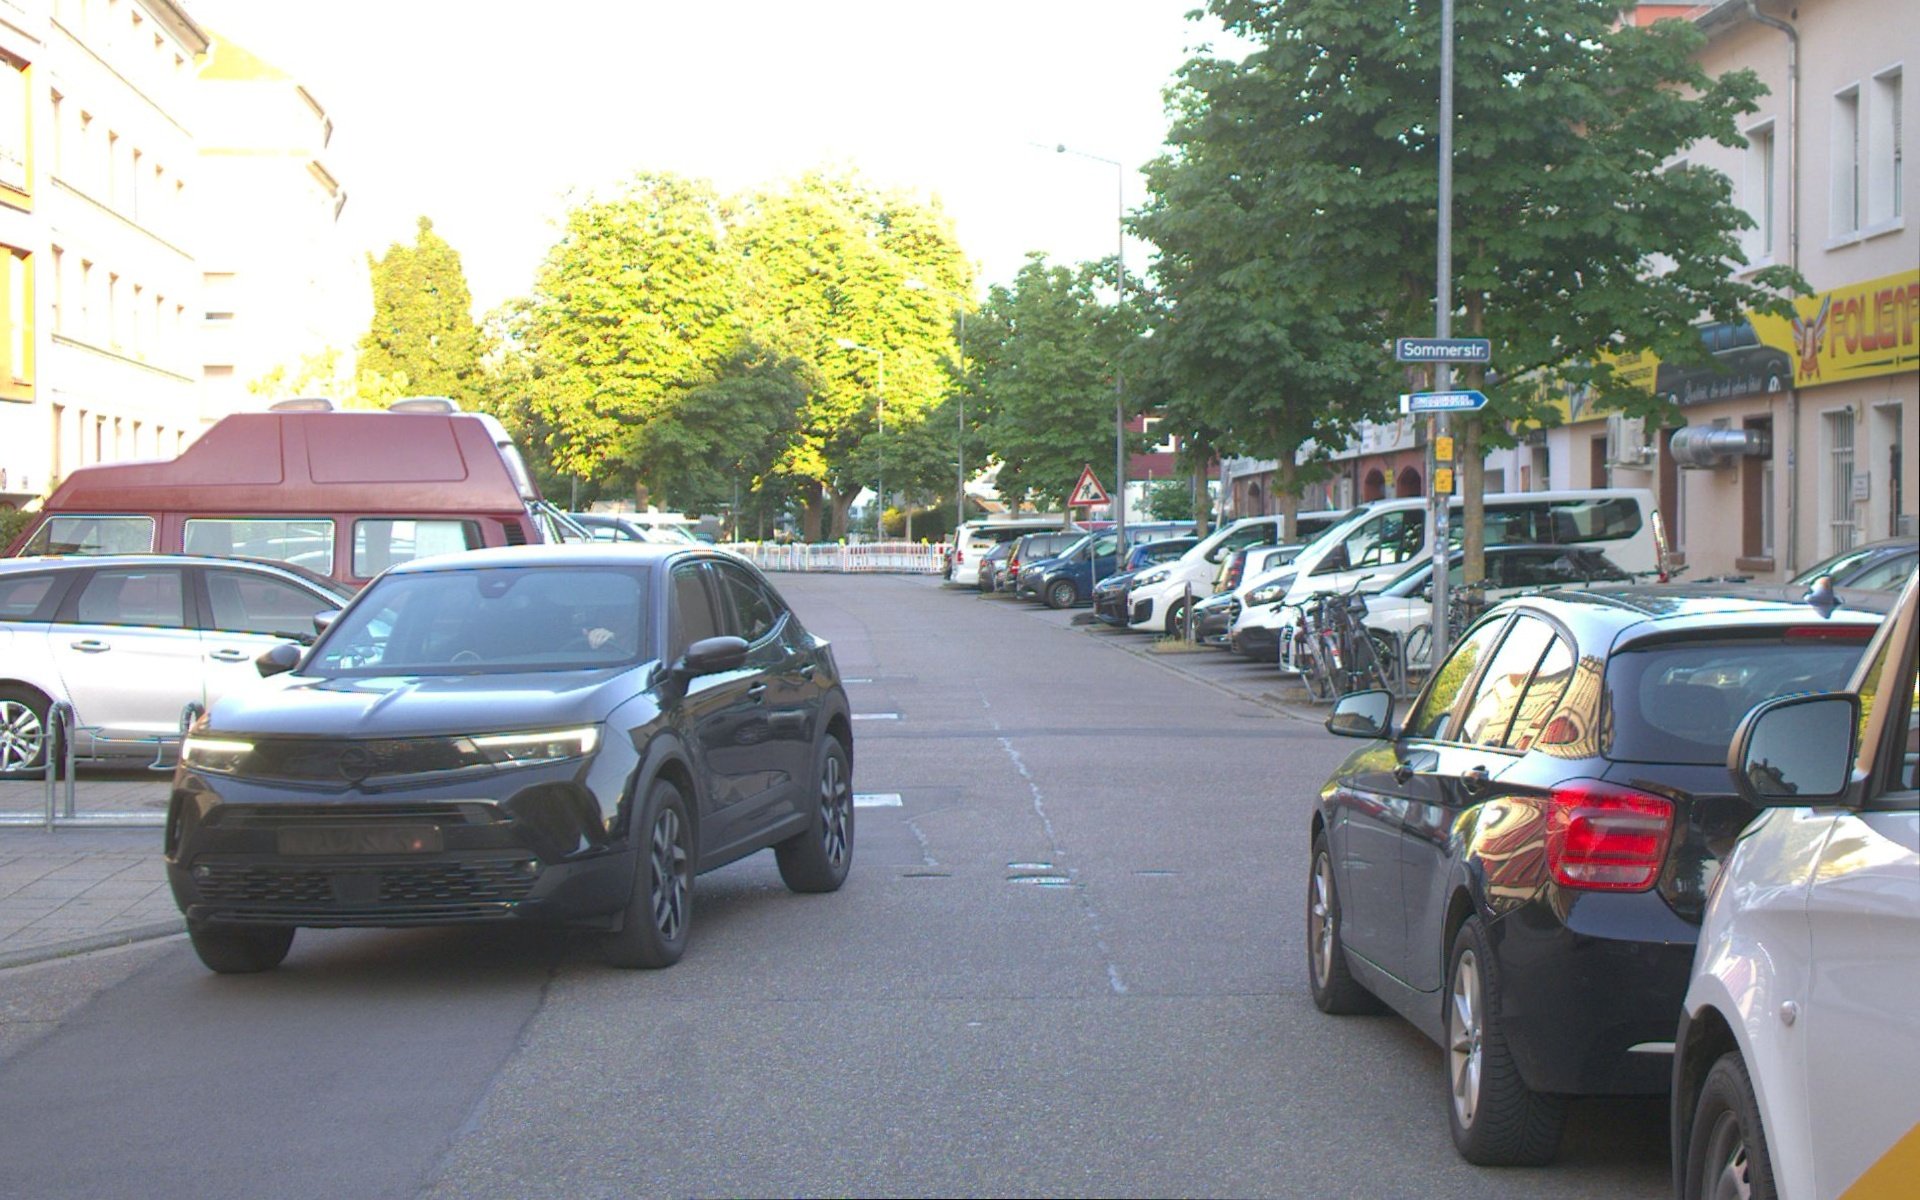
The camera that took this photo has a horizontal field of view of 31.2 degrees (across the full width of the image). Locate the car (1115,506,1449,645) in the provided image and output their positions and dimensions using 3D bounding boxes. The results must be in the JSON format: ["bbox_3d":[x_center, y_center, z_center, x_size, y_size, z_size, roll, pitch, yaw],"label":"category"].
[{"bbox_3d":[5.022,-0.399,54.089,4.943,1.951,2.049,-2,1,-2],"label":"car"}]

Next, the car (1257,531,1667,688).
[{"bbox_3d":[5.214,0.075,36.024,3.918,1.446,1.768,-2,1,-3],"label":"car"}]

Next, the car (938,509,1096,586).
[{"bbox_3d":[1.506,-1.406,91.952,3.967,1.905,2.050,-2,1,-5],"label":"car"}]

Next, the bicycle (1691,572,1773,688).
[{"bbox_3d":[7.137,0.266,31.840,0.387,1.013,1.481,-1,1,-1],"label":"bicycle"}]

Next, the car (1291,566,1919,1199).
[{"bbox_3d":[2.047,0.654,9.583,1.721,1.419,4.254,1,1,-1],"label":"car"}]

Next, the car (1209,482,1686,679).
[{"bbox_3d":[5.428,-0.234,38.807,4.990,1.976,2.220,-2,1,0],"label":"car"}]

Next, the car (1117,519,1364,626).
[{"bbox_3d":[5.185,-0.517,63.821,4.316,1.798,1.811,-2,1,-2],"label":"car"}]

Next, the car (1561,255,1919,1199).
[{"bbox_3d":[2.181,0.510,4.104,1.893,1.877,5.082,0,1,-2],"label":"car"}]

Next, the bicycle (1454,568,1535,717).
[{"bbox_3d":[4.944,0.373,31.897,0.386,1.300,2.017,-1,1,-1],"label":"bicycle"}]

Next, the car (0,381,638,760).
[{"bbox_3d":[-4.737,-0.228,25.178,4.511,2.575,2.000,1,1,1],"label":"car"}]

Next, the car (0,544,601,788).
[{"bbox_3d":[-4.721,0.399,22.611,4.615,1.455,1.881,1,1,-4],"label":"car"}]

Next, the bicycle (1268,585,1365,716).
[{"bbox_3d":[3.272,0.444,31.671,0.438,1.126,2.018,-1,1,-6],"label":"bicycle"}]

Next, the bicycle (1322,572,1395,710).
[{"bbox_3d":[3.685,0.361,31.859,0.386,1.196,2.017,-1,1,-1],"label":"bicycle"}]

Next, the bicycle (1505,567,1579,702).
[{"bbox_3d":[5.366,0.305,31.743,0.386,1.196,1.481,-1,1,-1],"label":"bicycle"}]

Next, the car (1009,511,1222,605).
[{"bbox_3d":[3.434,-0.944,76.486,4.478,1.905,1.688,-2,1,-5],"label":"car"}]

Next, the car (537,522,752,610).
[{"bbox_3d":[-6.509,-0.724,71.243,4.256,1.709,2.000,1,1,-1],"label":"car"}]

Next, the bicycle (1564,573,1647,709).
[{"bbox_3d":[5.946,0.360,31.716,0.445,1.196,1.481,-1,1,-1],"label":"bicycle"}]

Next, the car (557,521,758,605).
[{"bbox_3d":[-6.663,-0.817,76.014,4.256,1.743,2.000,1,1,-1],"label":"car"}]

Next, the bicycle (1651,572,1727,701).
[{"bbox_3d":[6.735,0.326,31.793,0.353,1.139,1.481,-1,1,-1],"label":"bicycle"}]

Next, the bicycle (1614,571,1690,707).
[{"bbox_3d":[6.376,0.342,31.709,0.353,1.196,1.481,-1,1,-1],"label":"bicycle"}]

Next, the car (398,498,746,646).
[{"bbox_3d":[-5.607,-0.424,50.155,4.850,2.014,1.907,1,1,-1],"label":"car"}]

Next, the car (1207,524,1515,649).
[{"bbox_3d":[5.409,-0.202,46.788,3.911,1.521,1.939,-2,1,0],"label":"car"}]

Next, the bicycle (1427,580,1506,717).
[{"bbox_3d":[4.683,0.430,31.887,0.386,1.196,2.017,-1,1,-1],"label":"bicycle"}]

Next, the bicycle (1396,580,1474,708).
[{"bbox_3d":[4.396,0.392,31.898,0.386,1.110,2.017,-1,1,-1],"label":"bicycle"}]

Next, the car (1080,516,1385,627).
[{"bbox_3d":[4.627,-0.494,58.908,4.943,1.683,2.077,-2,1,-2],"label":"car"}]

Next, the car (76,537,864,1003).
[{"bbox_3d":[-1.710,0.541,13.428,1.780,1.512,3.998,-1,1,11],"label":"car"}]

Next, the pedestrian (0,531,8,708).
[{"bbox_3d":[-8.510,0.161,28.800,0.832,1.496,0.798,1,1,0],"label":"pedestrian"}]

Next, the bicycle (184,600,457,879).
[{"bbox_3d":[-3.167,0.645,17.330,0.808,1.217,2.865,1,1,0],"label":"bicycle"}]

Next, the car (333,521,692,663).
[{"bbox_3d":[-5.575,-0.116,43.248,4.256,1.654,2.000,1,1,-1],"label":"car"}]

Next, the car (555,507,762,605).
[{"bbox_3d":[-6.865,-1.009,78.646,4.533,2.127,2.000,1,1,-1],"label":"car"}]

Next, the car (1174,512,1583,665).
[{"bbox_3d":[5.309,-0.168,44.154,4.944,1.736,2.049,-2,1,0],"label":"car"}]

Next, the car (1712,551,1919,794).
[{"bbox_3d":[7.005,0.417,22.086,3.928,1.450,1.658,-1,2,-4],"label":"car"}]

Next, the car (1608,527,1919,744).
[{"bbox_3d":[7.235,0.230,26.686,4.050,1.509,1.756,-1,3,0],"label":"car"}]
